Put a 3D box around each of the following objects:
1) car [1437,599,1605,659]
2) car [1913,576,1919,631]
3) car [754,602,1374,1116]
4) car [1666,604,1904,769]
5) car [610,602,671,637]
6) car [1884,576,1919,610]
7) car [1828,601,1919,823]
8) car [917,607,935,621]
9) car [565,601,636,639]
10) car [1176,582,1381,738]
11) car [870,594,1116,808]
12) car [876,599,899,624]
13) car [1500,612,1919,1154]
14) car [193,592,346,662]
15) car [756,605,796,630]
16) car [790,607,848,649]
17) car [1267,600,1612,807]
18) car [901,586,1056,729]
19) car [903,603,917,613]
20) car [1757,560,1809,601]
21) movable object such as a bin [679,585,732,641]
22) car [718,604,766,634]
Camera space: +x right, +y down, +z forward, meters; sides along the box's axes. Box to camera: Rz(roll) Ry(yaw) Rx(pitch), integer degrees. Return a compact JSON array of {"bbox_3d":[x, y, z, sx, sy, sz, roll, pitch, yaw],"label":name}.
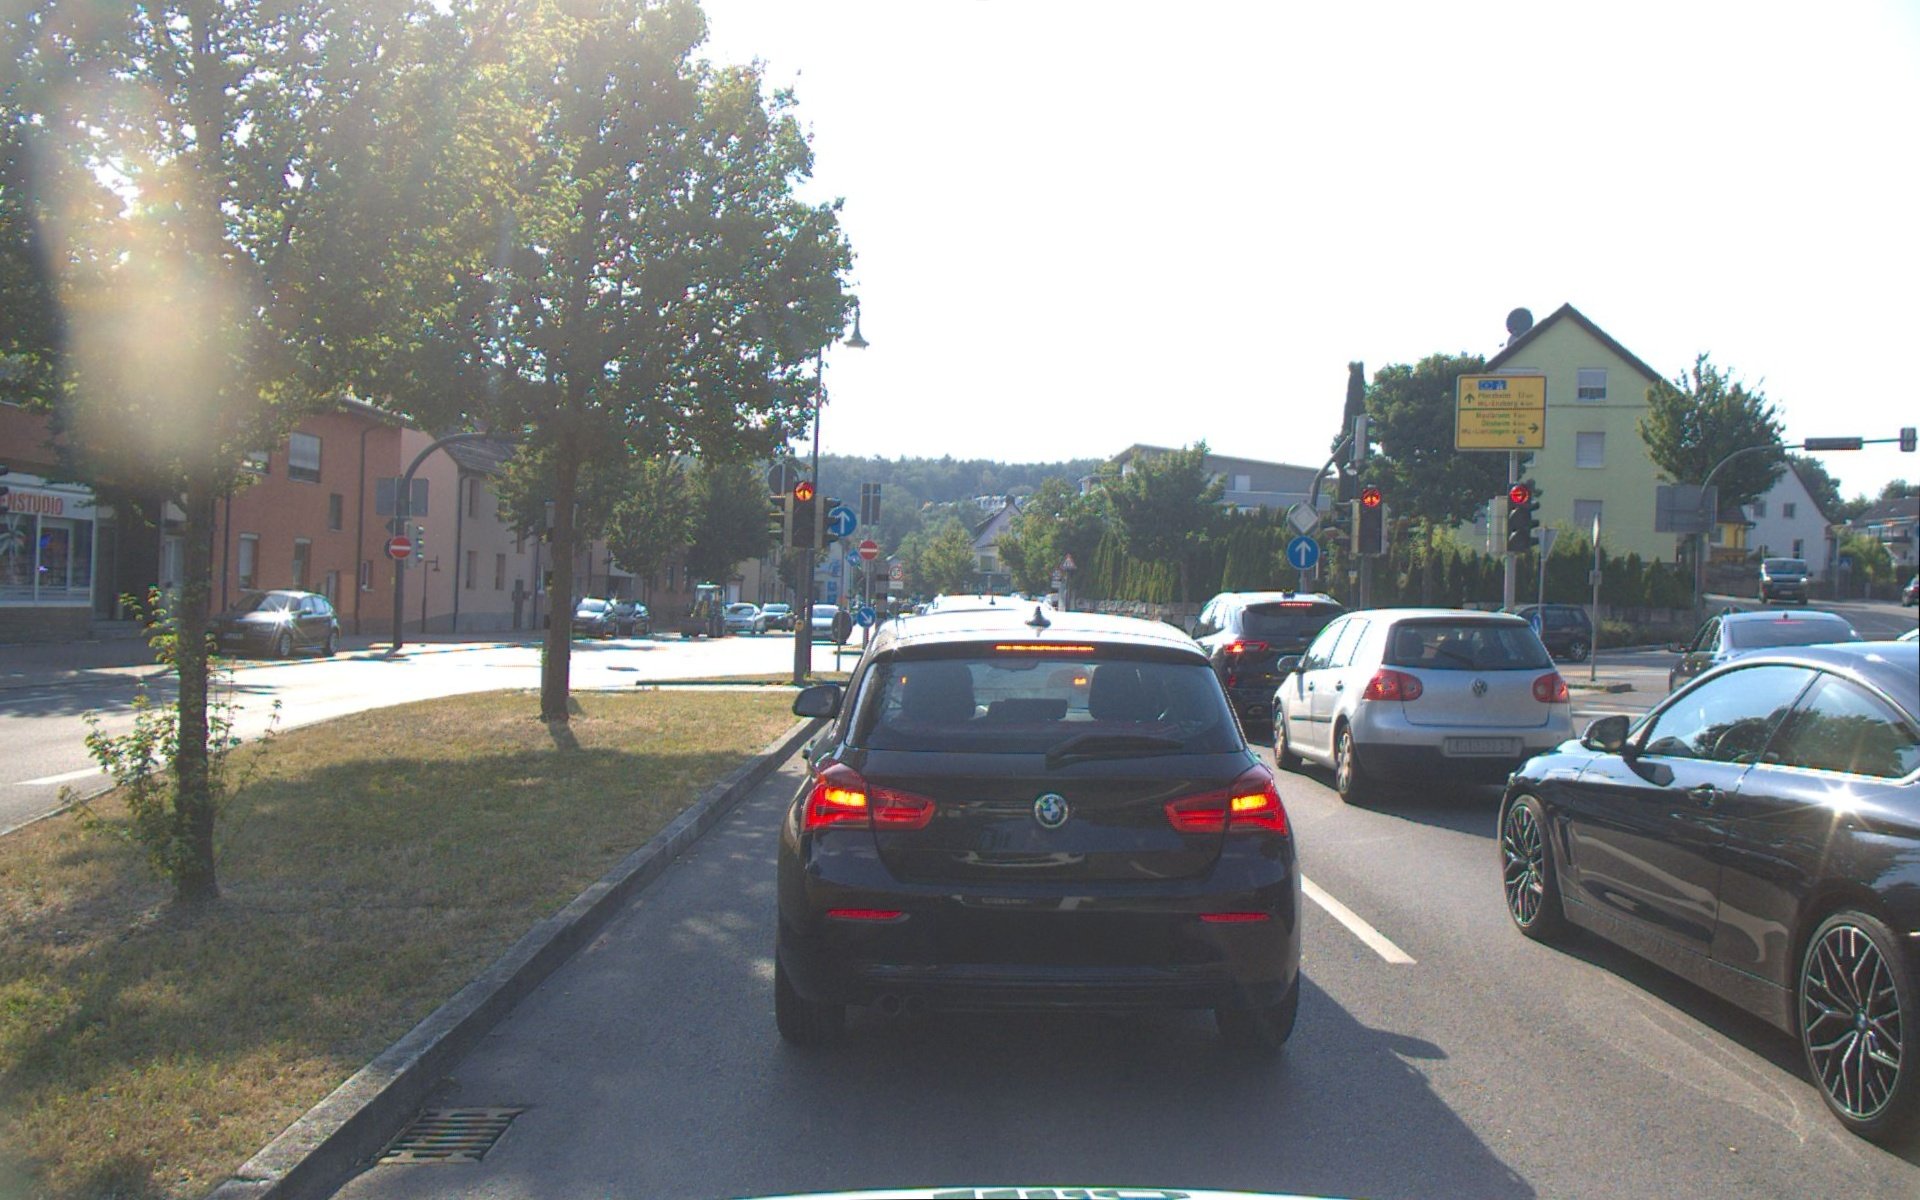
[{"bbox_3d":[15.167,0.769,44.834,3.907,1.515,1.847,1,0,-3],"label":"car"},{"bbox_3d":[30.766,0.116,51.377,1.807,1.670,4.425,1,0,28],"label":"car"},{"bbox_3d":[0.292,0.735,6.839,1.751,1.422,4.280,-1,0,0],"label":"car"},{"bbox_3d":[9.043,0.855,18.460,1.621,1.569,4.401,-1,0,17],"label":"car"},{"bbox_3d":[-14.107,0.839,73.189,1.701,1.323,4.001,5,0,2],"label":"car"},{"bbox_3d":[47.782,-0.343,83.110,1.925,1.709,4.214,0,0,23],"label":"car"},{"bbox_3d":[7.618,0.800,11.628,1.583,1.569,3.320,-1,0,6],"label":"car"},{"bbox_3d":[-3.692,1.501,181.067,1.701,1.323,3.800,5,0,2],"label":"car"},{"bbox_3d":[-14.499,0.805,66.908,1.701,1.323,4.001,5,0,3],"label":"car"},{"bbox_3d":[3.743,0.650,20.058,1.725,1.685,3.902,-1,0,0],"label":"car"},{"bbox_3d":[0.233,0.715,13.984,1.751,1.520,4.280,-1,0,0],"label":"car"},{"bbox_3d":[-7.150,1.125,163.266,2.042,2.435,5.527,1,0,-1],"label":"car"},{"bbox_3d":[3.467,0.785,5.819,1.725,1.422,4.280,-1,0,0],"label":"car"},{"bbox_3d":[-15.474,0.572,37.294,1.702,1.323,3.999,5,0,-1],"label":"car"},{"bbox_3d":[-10.881,1.031,98.160,1.701,1.323,3.800,5,0,2],"label":"car"},{"bbox_3d":[-5.368,1.047,63.277,1.801,1.508,4.000,1,0,1],"label":"car"},{"bbox_3d":[3.789,0.741,13.776,1.725,1.451,3.902,-1,0,0],"label":"car"},{"bbox_3d":[0.204,0.649,21.025,1.751,1.622,4.280,-1,0,0],"label":"car"},{"bbox_3d":[-7.293,1.200,240.547,1.701,1.323,3.800,5,0,2],"label":"car"},{"bbox_3d":[36.817,-0.858,74.094,1.805,1.770,4.782,1,0,24],"label":"car"},{"bbox_3d":[-11.558,0.568,75.354,1.701,2.485,4.449,0,0,0],"label":"movable object such as a bin"},{"bbox_3d":[-11.249,0.975,85.559,1.701,1.323,3.800,5,0,2],"label":"car"}]
